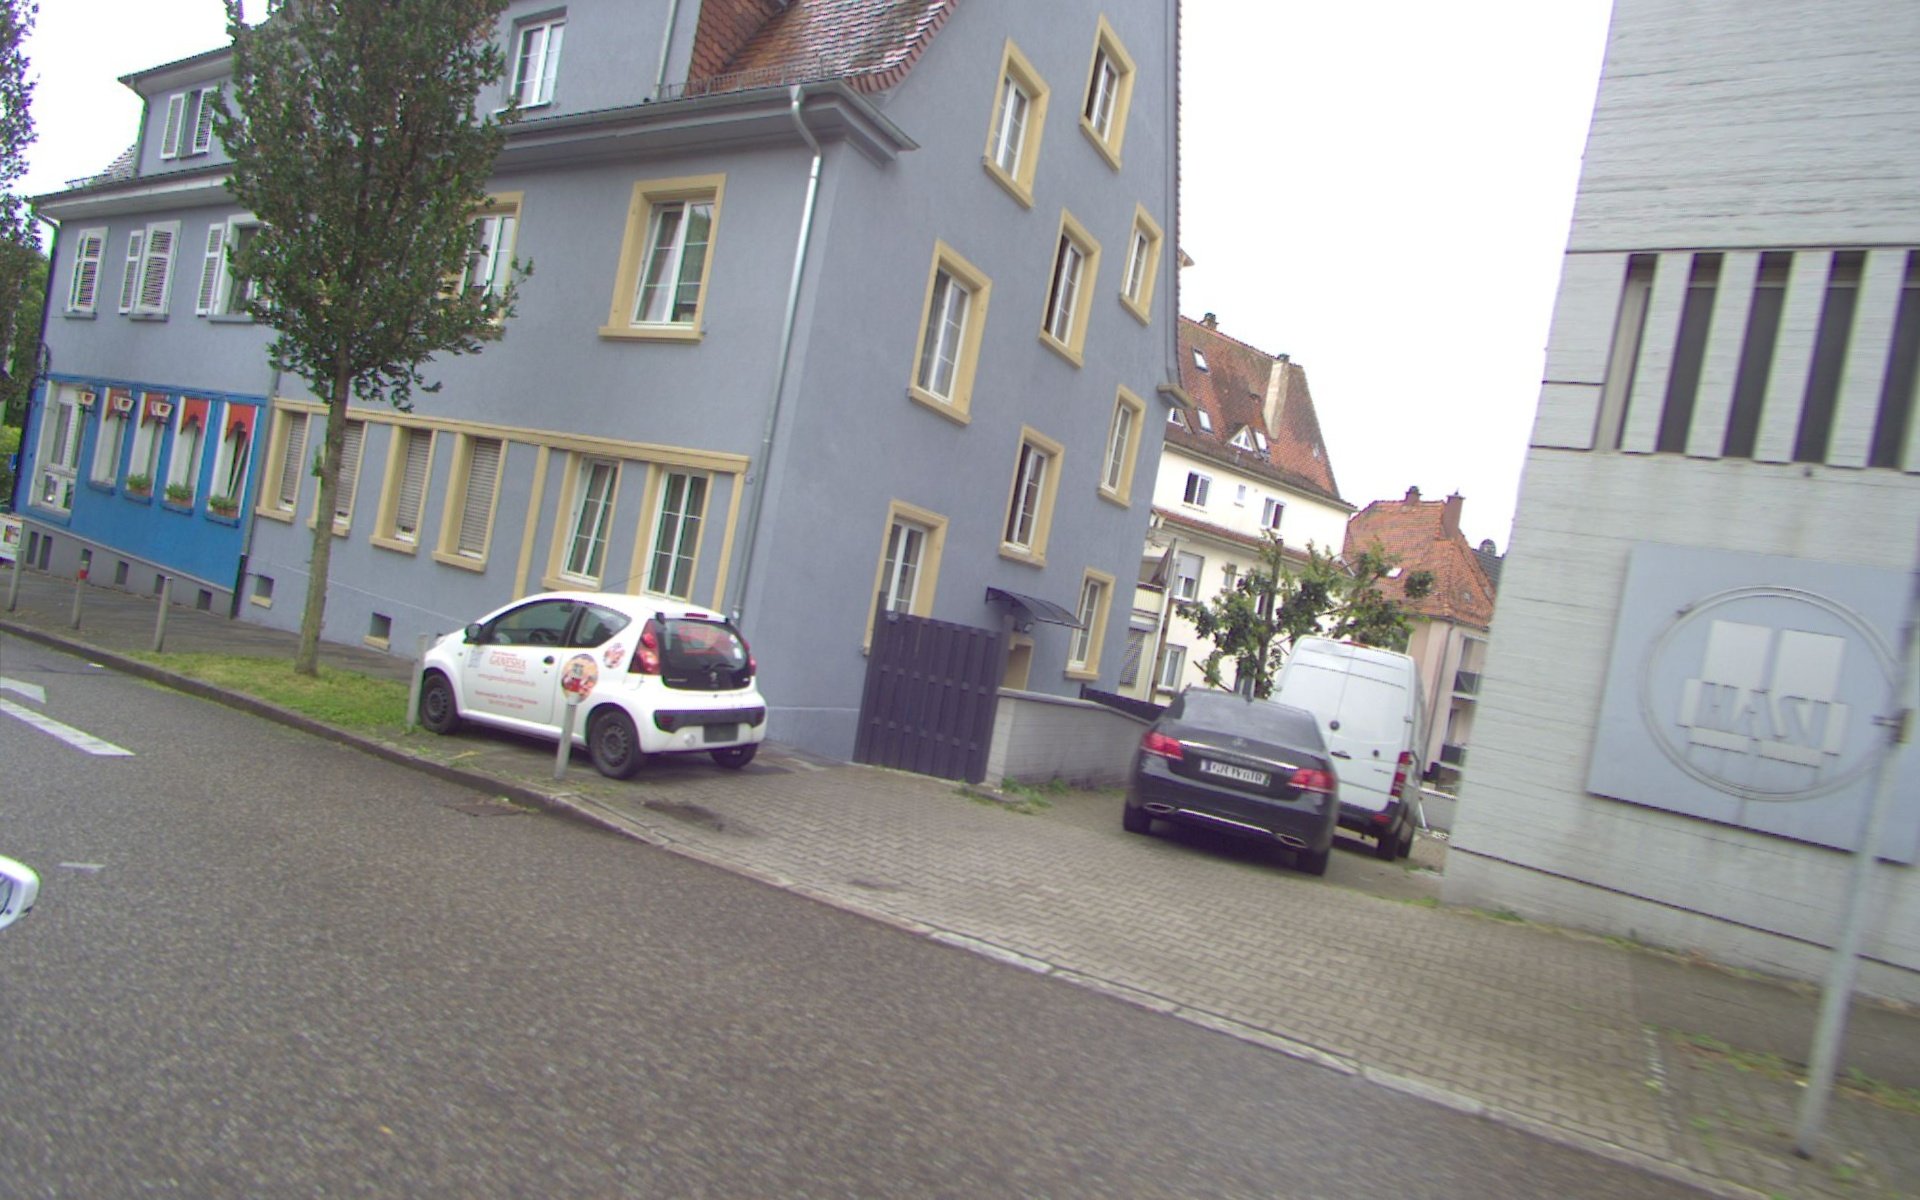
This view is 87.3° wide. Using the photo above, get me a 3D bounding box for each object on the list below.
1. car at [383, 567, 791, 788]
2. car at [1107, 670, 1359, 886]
[{"bbox_3d":[-3.488,0.640,9.354,3.396,1.429,1.590,7,-1,28],"label":"car"},{"bbox_3d":[2.725,1.659,10.119,1.775,1.421,4.379,7,-5,16],"label":"car"}]
